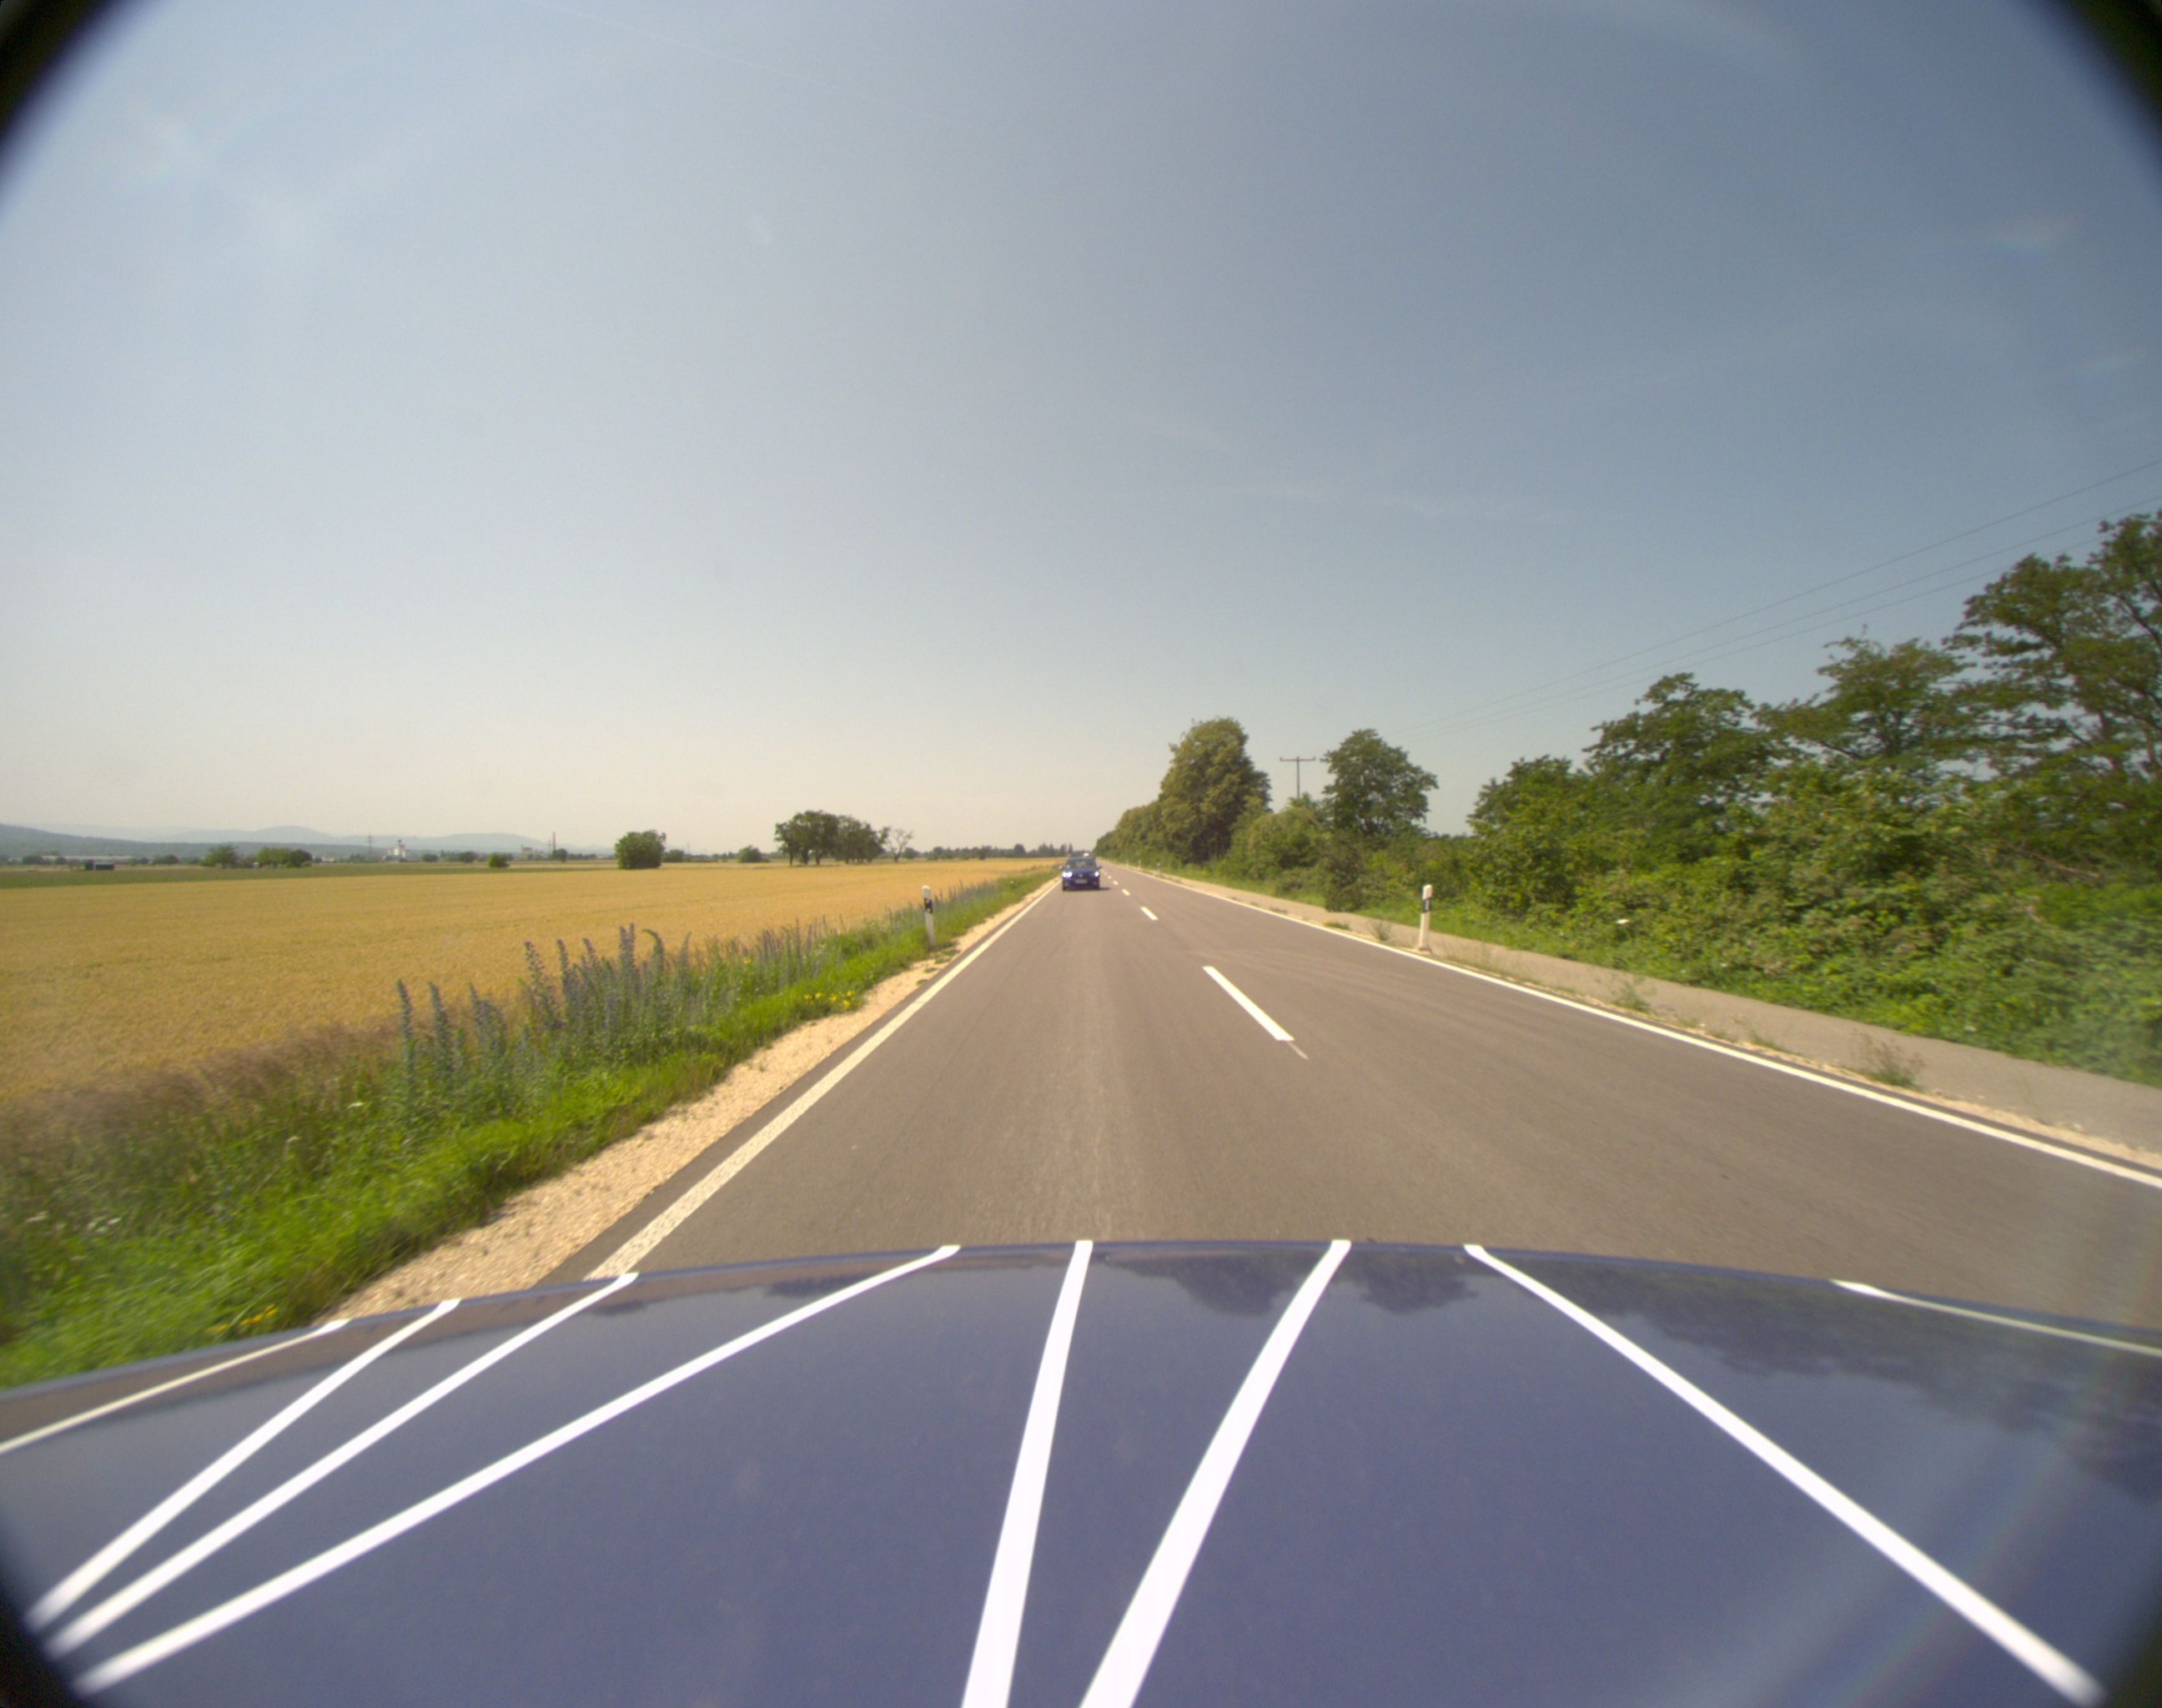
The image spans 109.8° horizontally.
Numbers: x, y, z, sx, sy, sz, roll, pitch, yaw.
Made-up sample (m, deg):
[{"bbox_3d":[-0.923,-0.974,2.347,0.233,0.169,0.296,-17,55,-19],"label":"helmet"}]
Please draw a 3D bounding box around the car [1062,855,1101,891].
[{"bbox_3d":[0.028,0.857,35.908,1.662,1.508,4.000,-2,0,0],"label":"car"}]
